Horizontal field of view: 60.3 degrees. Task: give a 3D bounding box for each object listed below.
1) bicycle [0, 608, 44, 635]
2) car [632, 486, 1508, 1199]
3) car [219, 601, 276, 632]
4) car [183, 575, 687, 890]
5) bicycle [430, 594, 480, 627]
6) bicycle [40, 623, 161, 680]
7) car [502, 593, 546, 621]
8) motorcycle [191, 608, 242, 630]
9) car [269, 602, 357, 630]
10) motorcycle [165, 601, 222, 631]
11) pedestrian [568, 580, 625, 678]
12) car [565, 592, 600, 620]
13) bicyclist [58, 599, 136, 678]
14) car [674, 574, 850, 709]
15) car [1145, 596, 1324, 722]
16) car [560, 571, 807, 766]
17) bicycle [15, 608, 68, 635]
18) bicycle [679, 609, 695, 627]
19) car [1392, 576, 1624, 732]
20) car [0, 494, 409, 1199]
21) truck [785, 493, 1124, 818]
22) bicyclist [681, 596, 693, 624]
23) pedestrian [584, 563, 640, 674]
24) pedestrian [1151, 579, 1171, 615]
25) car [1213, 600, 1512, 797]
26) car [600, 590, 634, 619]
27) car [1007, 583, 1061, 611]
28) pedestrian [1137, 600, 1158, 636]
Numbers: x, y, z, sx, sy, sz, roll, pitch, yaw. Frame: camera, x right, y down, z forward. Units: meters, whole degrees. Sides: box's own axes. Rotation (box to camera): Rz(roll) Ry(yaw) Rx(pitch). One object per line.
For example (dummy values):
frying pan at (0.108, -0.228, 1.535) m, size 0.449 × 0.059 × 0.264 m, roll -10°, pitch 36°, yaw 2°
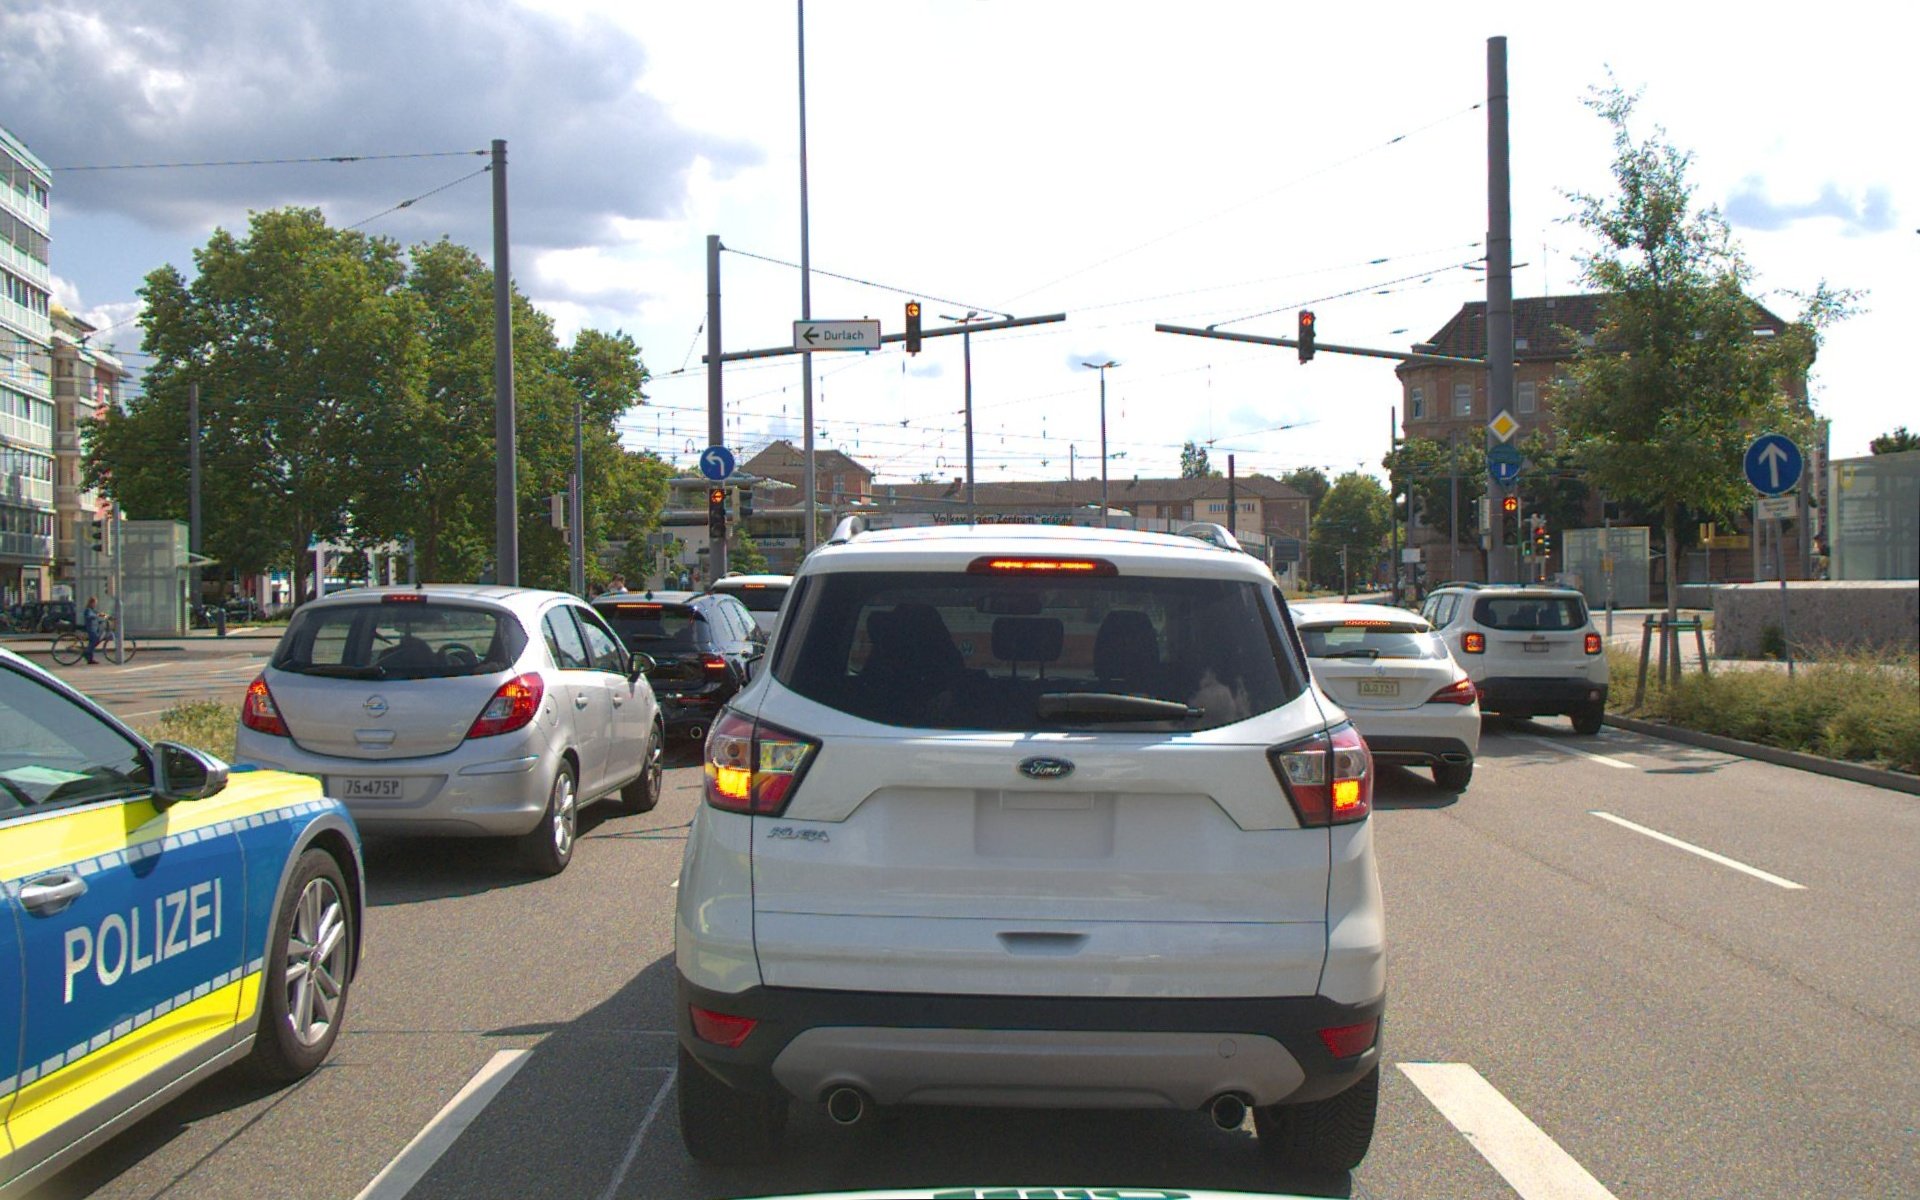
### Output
bicycle at (-40.944, 0.933, 71.993) m, size 1.776 × 1.167 × 0.792 m, roll -1°, pitch 0°, yaw -19°
car at (0.314, 0.614, 5.382) m, size 1.789 × 1.693 × 3.957 m, roll 0°, pitch 0°, yaw 3°
car at (-35.668, 0.843, 82.894) m, size 1.872 × 1.438 × 3.987 m, roll -1°, pitch -1°, yaw -12°
car at (-2.871, 0.634, 10.015) m, size 1.810 × 1.500 × 3.999 m, roll -1°, pitch 0°, yaw -1°
bicycle at (-22.780, 0.466, 74.576) m, size 2.133 × 1.439 × 0.809 m, roll 0°, pitch 1°, yaw -16°
bicycle at (-19.826, 1.181, 38.182) m, size 2.248 × 1.209 × 0.994 m, roll -2°, pitch 0°, yaw -4°
car at (-32.723, 0.551, 124.242) m, size 1.928 × 1.971 × 5.067 m, roll -2°, pitch -1°, yaw -1°
motorcycle at (-34.306, 0.875, 76.314) m, size 0.795 × 0.933 × 2.037 m, roll 0°, pitch 1°, yaw 36°
car at (-33.633, 0.840, 86.073) m, size 3.907 × 1.350 × 1.632 m, roll -2°, pitch -1°, yaw -3°
motorcycle at (-33.139, 0.687, 71.489) m, size 2.165 × 1.259 × 0.906 m, roll -1°, pitch 1°, yaw 17°
pedestrian at (-6.366, 0.508, 28.971) m, size 0.830 × 1.676 × 0.692 m, roll -1°, pitch -1°, yaw -1°
car at (-28.141, 0.475, 123.459) m, size 1.929 × 1.971 × 4.226 m, roll -2°, pitch -1°, yaw -5°
bicyclist at (-19.909, 0.874, 38.179) m, size 1.271 × 1.761 × 0.994 m, roll -1°, pitch 0°, yaw -3°
car at (-2.516, 0.493, 22.075) m, size 1.999 × 1.606 × 4.537 m, roll 0°, pitch 0°, yaw -3°
car at (3.360, 0.675, 20.857) m, size 1.811 × 1.443 × 3.680 m, roll 0°, pitch 0°, yaw 3°
car at (-2.505, 0.552, 15.989) m, size 1.727 × 1.595 × 4.525 m, roll -1°, pitch 0°, yaw -2°
bicycle at (-40.698, 0.957, 73.301) m, size 1.914 × 1.167 × 0.792 m, roll -1°, pitch 0°, yaw -19°
bicycle at (-17.447, 1.152, 105.751) m, size 0.624 × 1.145 × 1.785 m, roll 0°, pitch 1°, yaw 2°
car at (6.455, 0.592, 19.927) m, size 1.797 × 1.681 × 4.002 m, roll 0°, pitch 0°, yaw 5°
car at (-2.735, 0.608, 3.265) m, size 1.842 × 1.595 × 4.614 m, roll -1°, pitch 0°, yaw -2°
truck at (-0.012, 0.365, 14.142) m, size 2.291 × 2.193 × 5.852 m, roll 0°, pitch 0°, yaw 0°
bicyclist at (-17.450, 0.636, 105.813) m, size 0.624 × 1.768 × 0.662 m, roll 0°, pitch 1°, yaw 2°
pedestrian at (-6.267, 0.333, 29.812) m, size 0.830 × 1.950 × 0.692 m, roll -1°, pitch -1°, yaw -1°
pedestrian at (9.824, -0.152, 80.918) m, size 0.578 × 1.774 × 0.923 m, roll 0°, pitch -1°, yaw 37°
car at (3.252, 0.724, 14.053) m, size 1.811 × 1.443 × 3.680 m, roll 0°, pitch 0°, yaw 3°
car at (-25.535, 0.348, 123.245) m, size 1.955 × 2.049 × 4.226 m, roll -2°, pitch -1°, yaw -5°
car at (4.234, -0.200, 93.750) m, size 1.860 × 1.487 × 3.969 m, roll -2°, pitch 0°, yaw 21°
pedestrian at (9.227, 0.879, 81.379) m, size 0.578 × 1.774 × 0.923 m, roll 0°, pitch -1°, yaw 37°
